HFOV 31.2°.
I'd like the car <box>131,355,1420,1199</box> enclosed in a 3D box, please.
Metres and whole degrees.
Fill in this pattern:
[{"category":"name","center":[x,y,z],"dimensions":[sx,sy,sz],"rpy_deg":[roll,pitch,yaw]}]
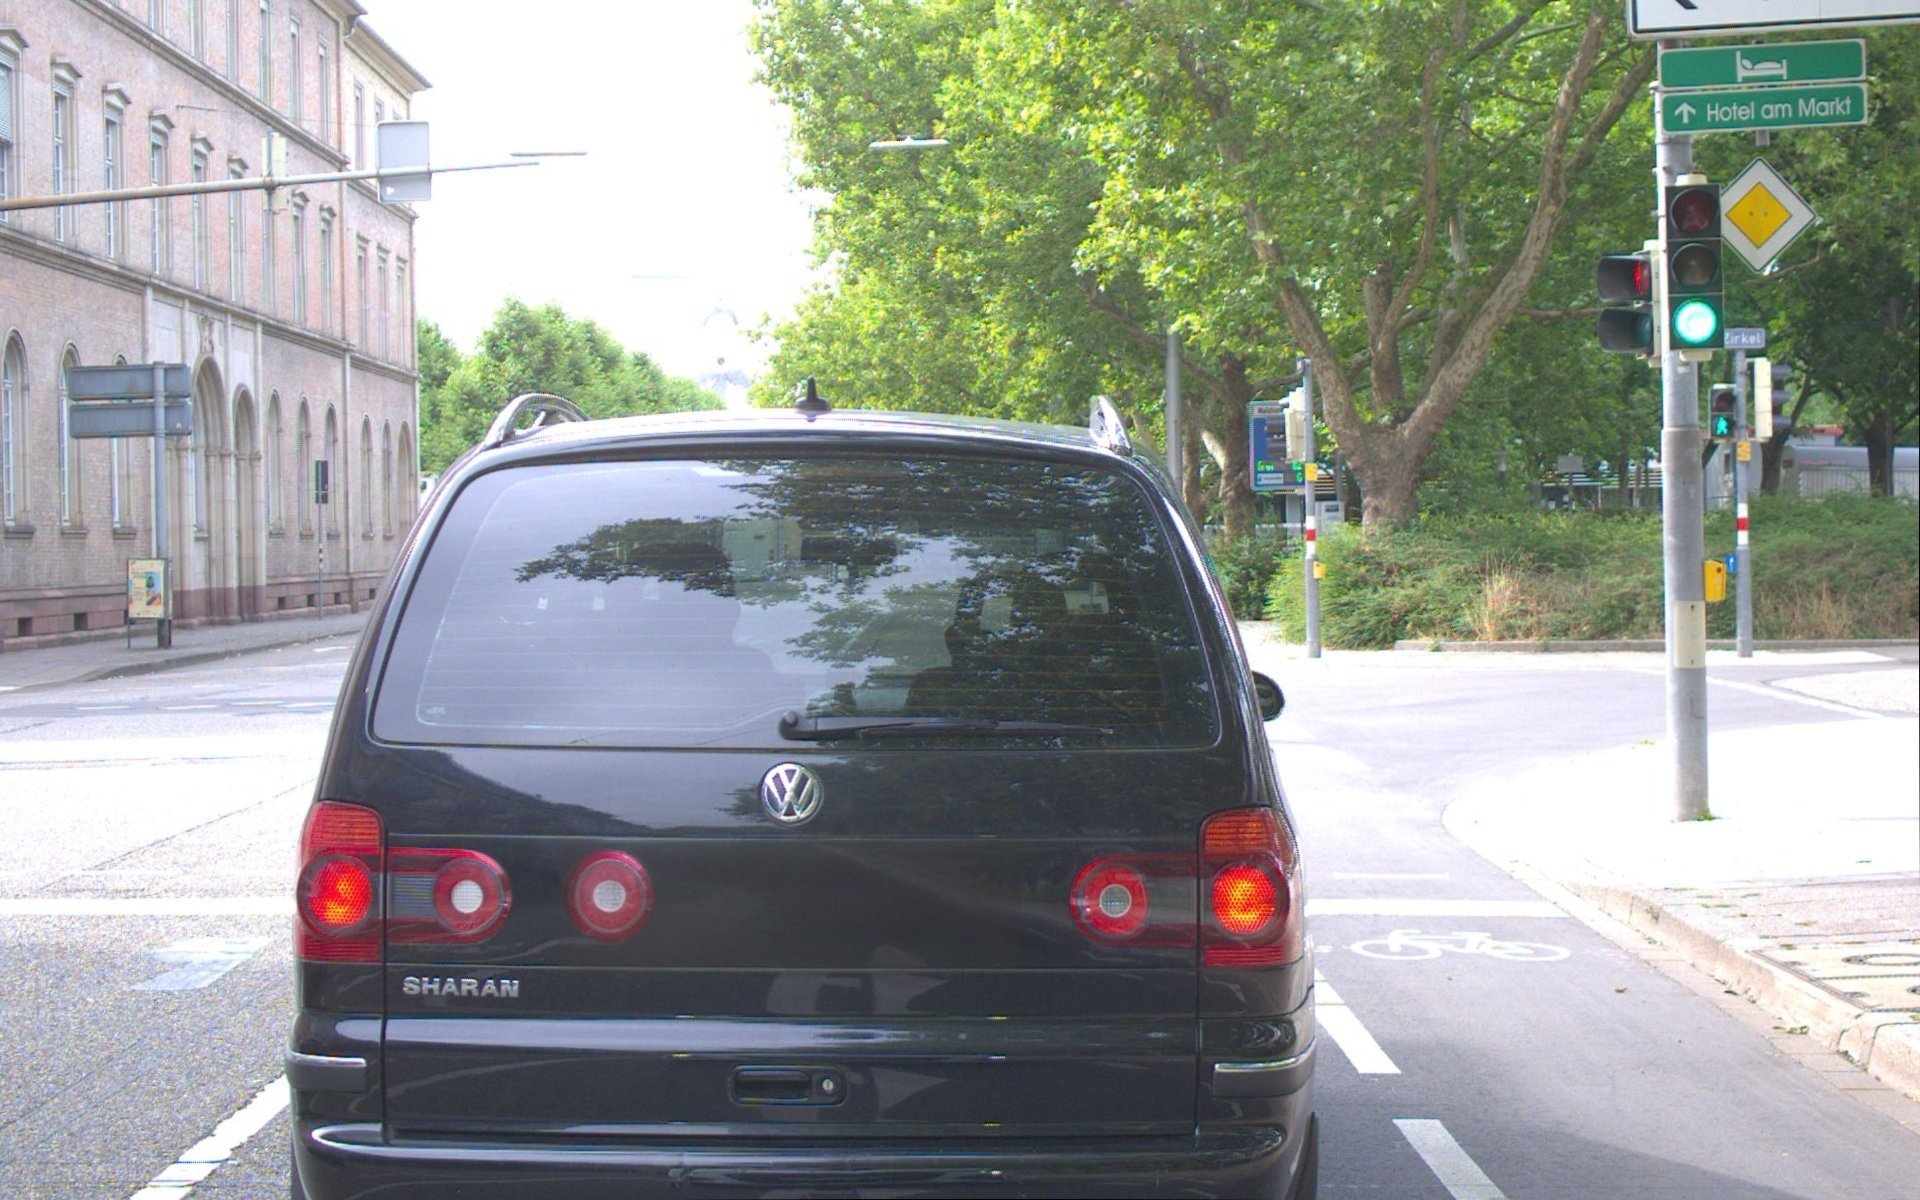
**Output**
[{"category":"car","center":[-0.292,0.466,7.331],"dimensions":[1.874,1.739,4.574],"rpy_deg":[-1,1,-1]}]

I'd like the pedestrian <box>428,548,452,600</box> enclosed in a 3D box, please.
[{"category":"pedestrian","center":[-14.675,-0.735,97.002],"dimensions":[0.557,1.430,0.579],"rpy_deg":[-1,1,-1]}]
